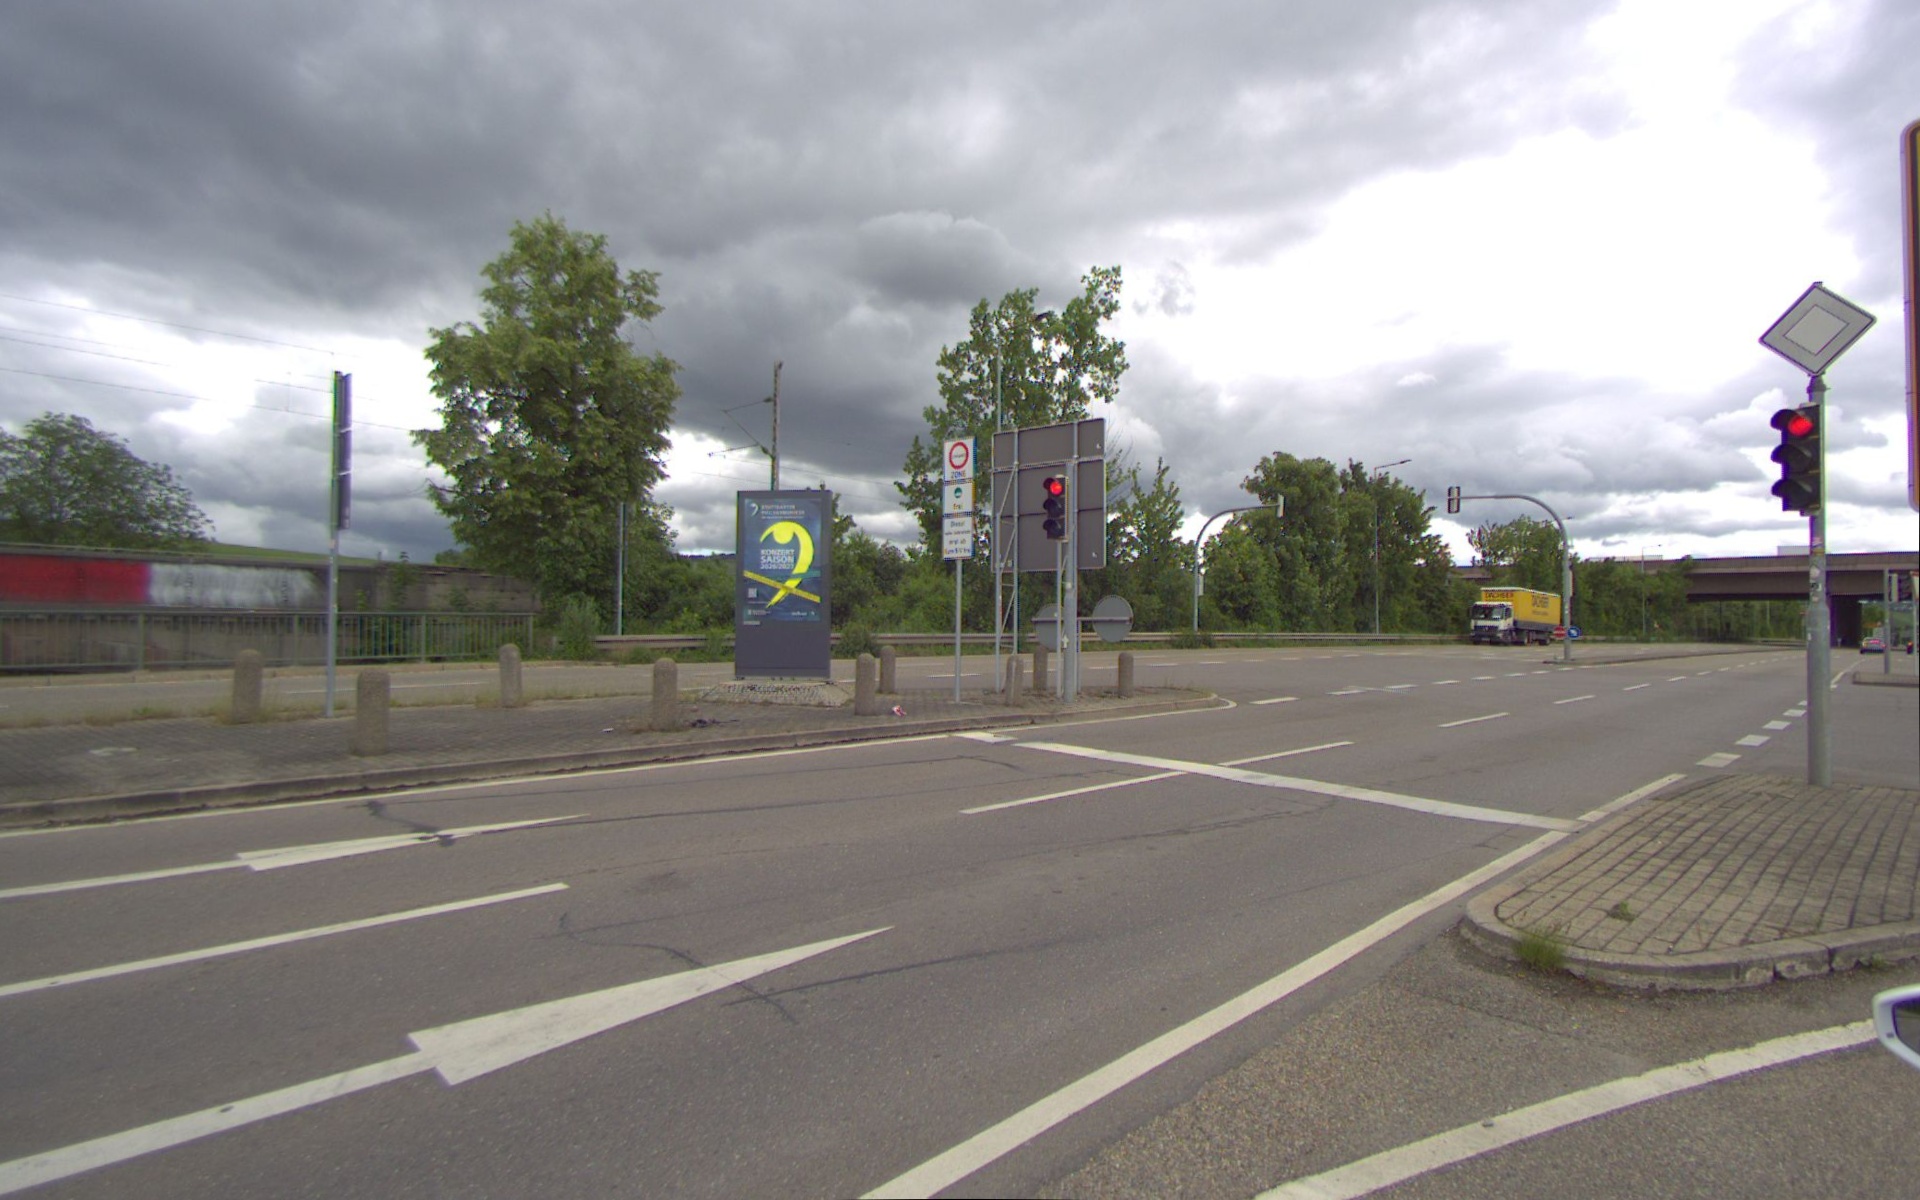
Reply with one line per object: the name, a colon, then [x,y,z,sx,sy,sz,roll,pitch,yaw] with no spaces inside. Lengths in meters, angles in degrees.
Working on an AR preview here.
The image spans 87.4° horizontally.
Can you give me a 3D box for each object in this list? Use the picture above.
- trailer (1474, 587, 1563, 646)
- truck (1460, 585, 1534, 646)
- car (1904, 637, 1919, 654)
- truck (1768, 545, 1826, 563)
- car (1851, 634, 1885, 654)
trailer: [42.864,1.237,76.912,2.842,4.139,11.352,3,1,45]
truck: [39.040,1.095,72.975,6.445,4.139,2.842,1,1,-45]
car: [88.817,4.261,92.948,4.084,1.483,1.974,4,-2,-44]
truck: [112.365,-6.137,134.899,1.977,2.192,5.593,1,0,-31]
car: [77.006,3.736,85.156,1.972,1.461,4.086,1,-2,44]
